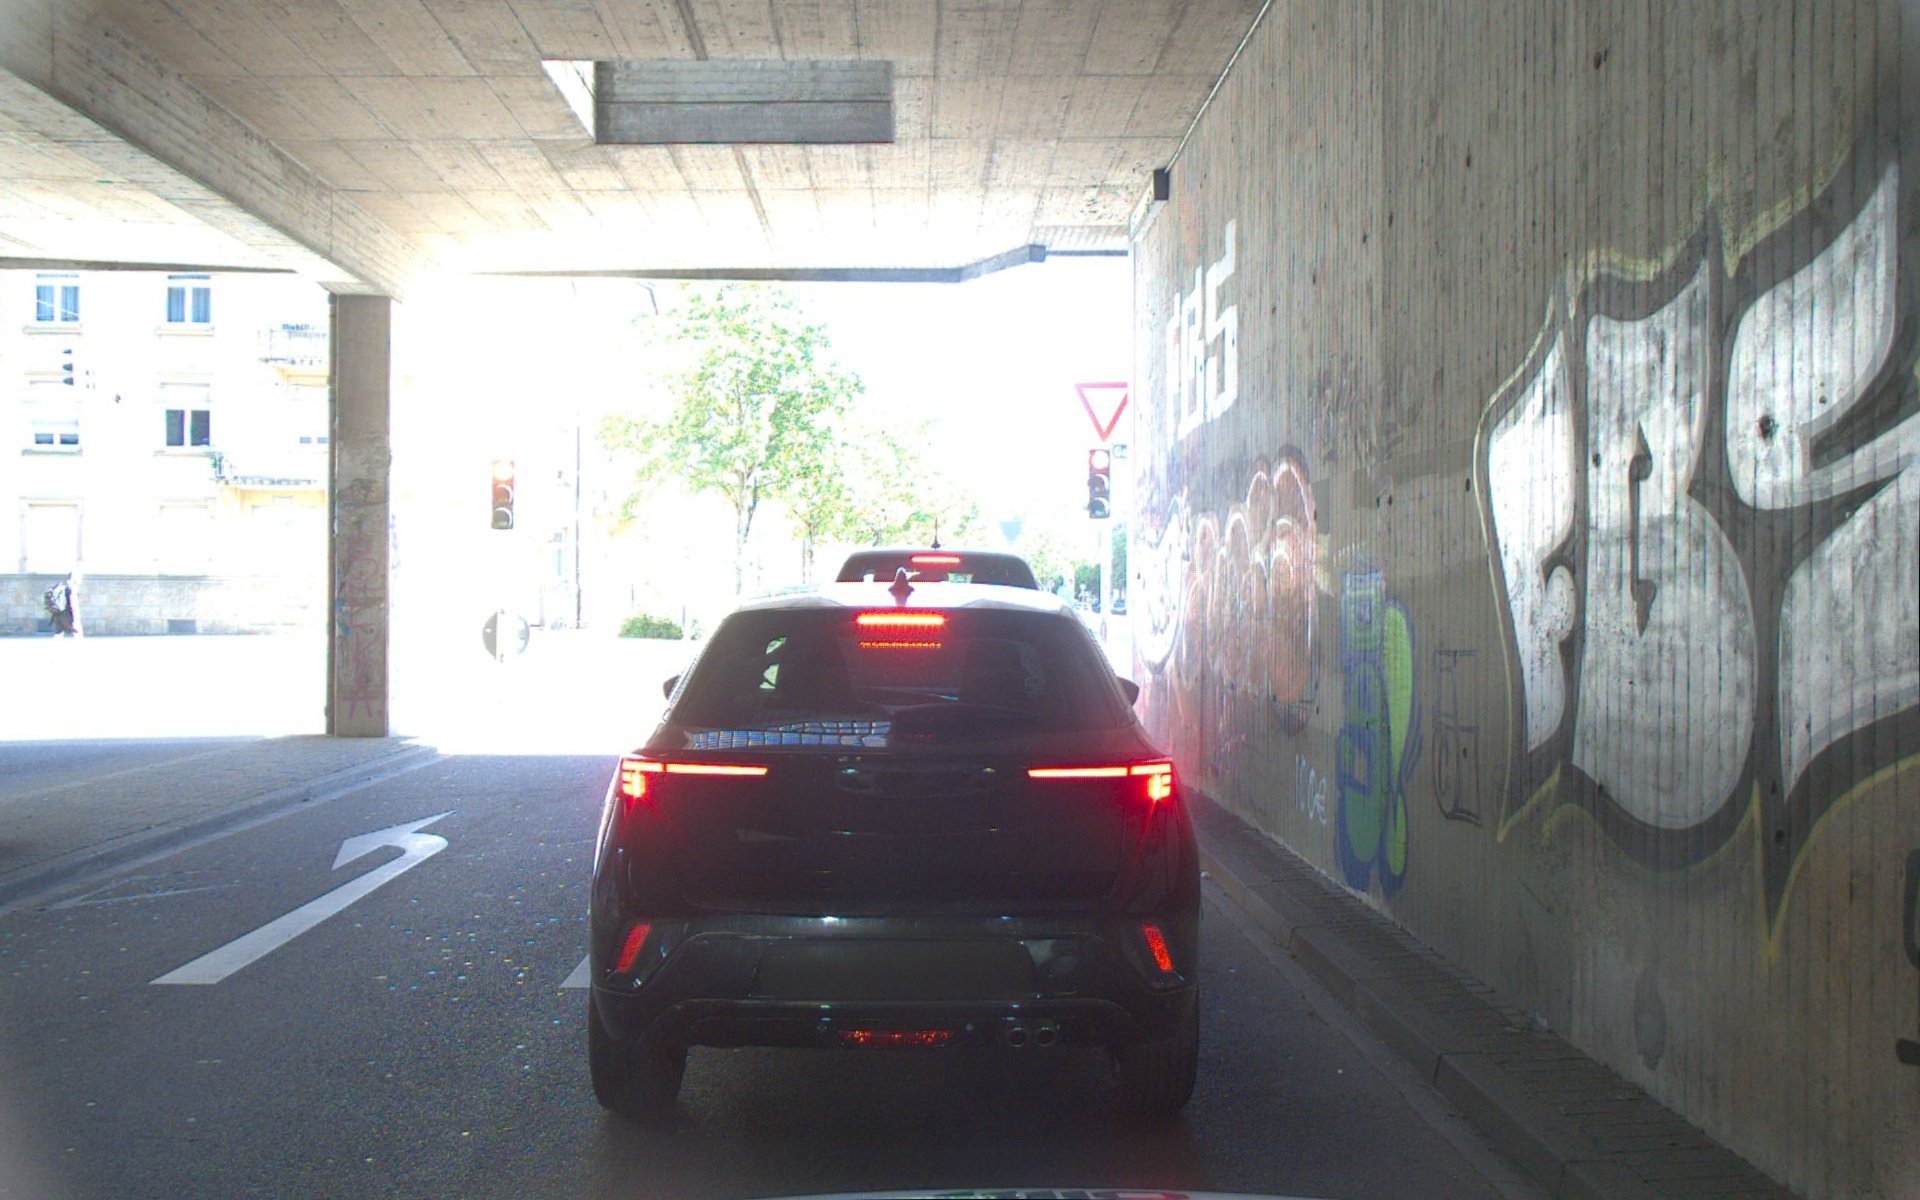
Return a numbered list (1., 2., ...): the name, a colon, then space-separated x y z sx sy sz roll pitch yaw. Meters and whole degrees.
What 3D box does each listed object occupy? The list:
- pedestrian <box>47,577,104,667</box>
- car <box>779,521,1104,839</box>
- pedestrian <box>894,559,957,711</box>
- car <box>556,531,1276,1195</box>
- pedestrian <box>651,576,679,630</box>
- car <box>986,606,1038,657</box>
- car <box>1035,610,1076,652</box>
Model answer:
1. pedestrian: -16.710 0.407 31.265 0.658 1.666 0.740 1 -1 -1
2. car: -0.138 0.467 11.969 1.953 1.904 3.999 0 0 -1
3. pedestrian: -0.410 0.407 19.775 0.716 1.764 0.874 1 -1 -1
4. car: -0.134 0.601 6.027 1.729 1.598 4.000 1 1 -1
5. pedestrian: -11.878 0.118 66.506 0.873 2.124 0.808 1 -1 7
6. car: 2.212 1.282 69.053 1.951 2.004 4.166 1 0 4
7. car: 4.770 1.541 82.504 1.951 2.004 4.166 1 0 4
